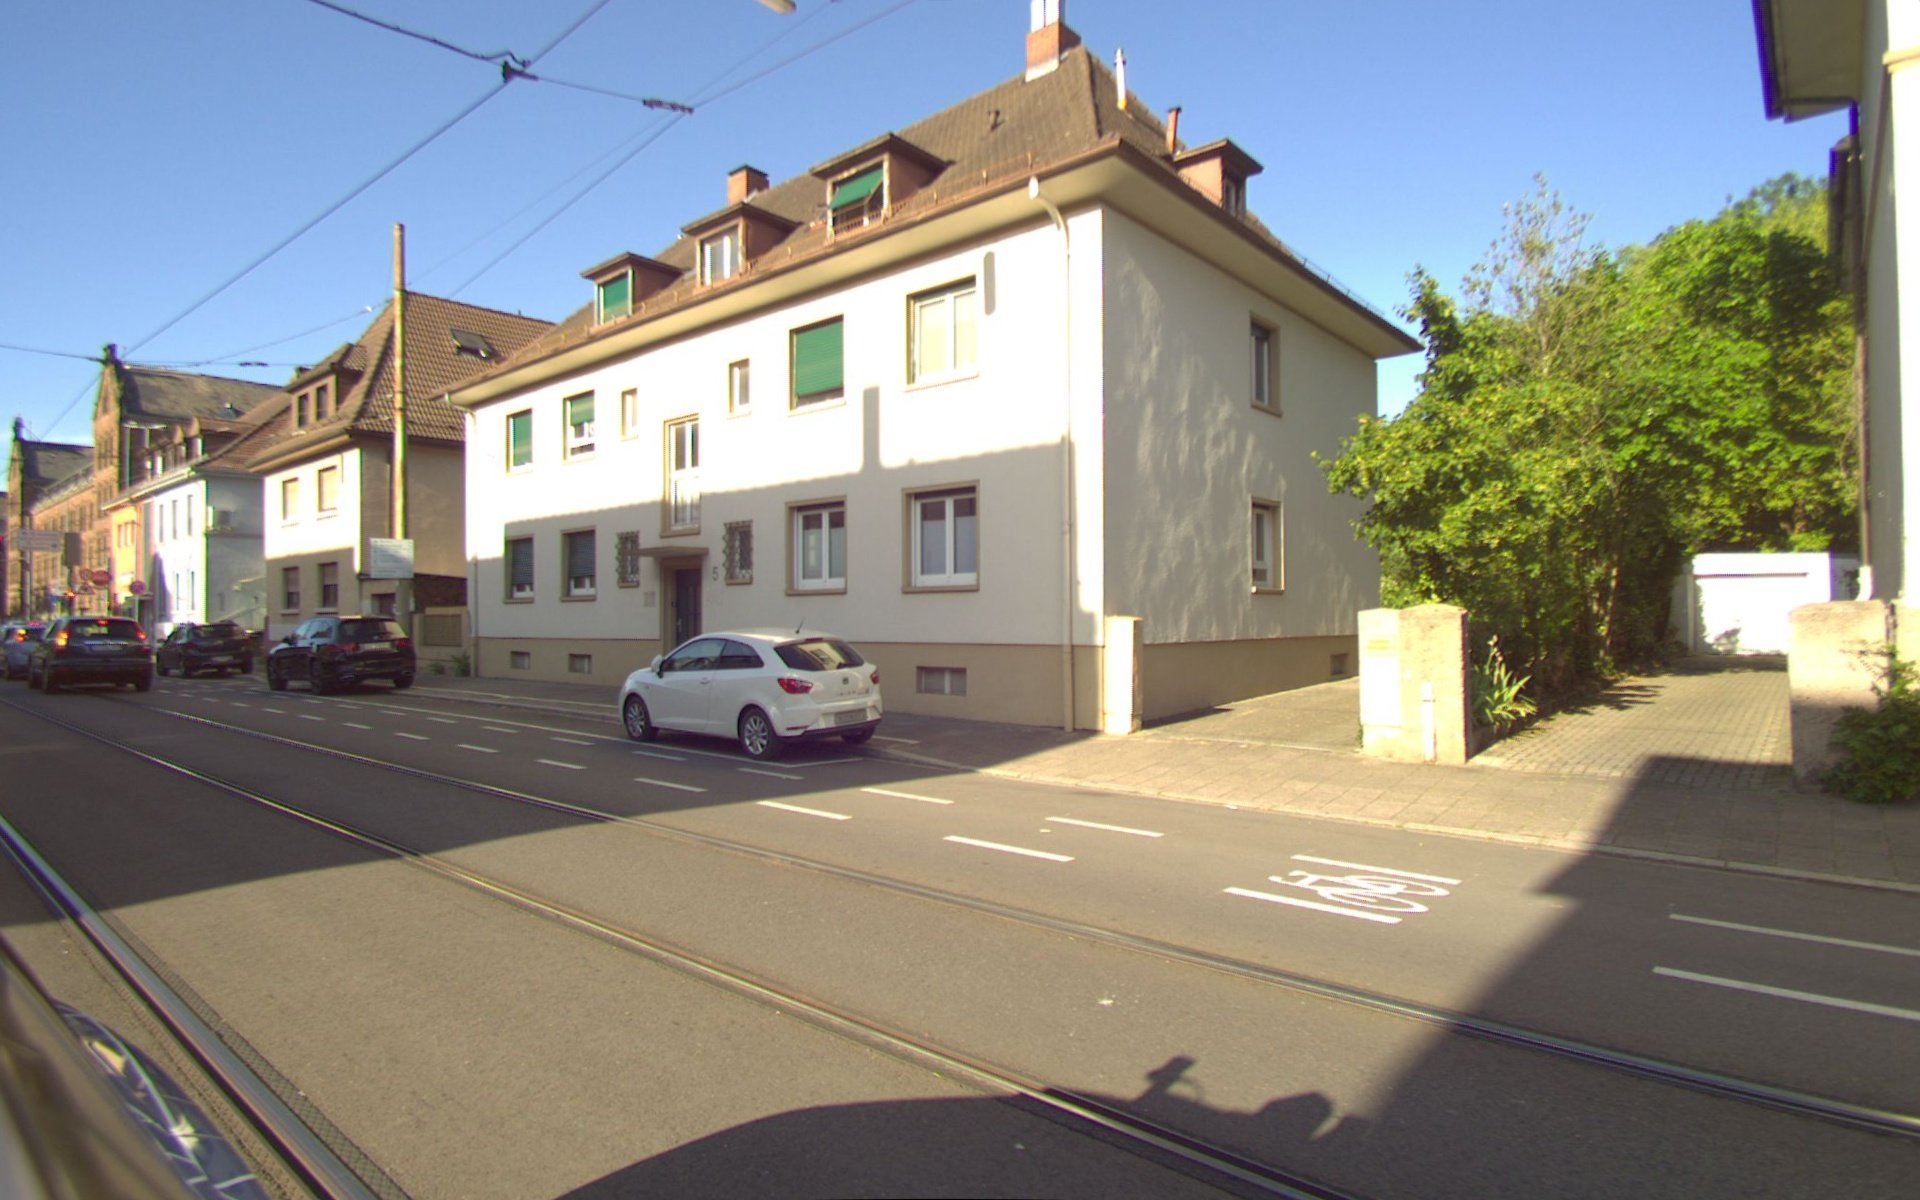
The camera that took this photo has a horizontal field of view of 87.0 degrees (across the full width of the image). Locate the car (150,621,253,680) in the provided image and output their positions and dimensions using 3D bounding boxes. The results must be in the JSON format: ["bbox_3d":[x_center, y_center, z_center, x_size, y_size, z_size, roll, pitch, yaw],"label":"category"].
[{"bbox_3d":[-22.633,1.458,30.140,3.918,1.640,1.599,-1,-3,40],"label":"car"}]

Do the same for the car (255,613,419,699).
[{"bbox_3d":[-13.873,1.179,22.427,4.552,1.718,1.744,-1,-3,40],"label":"car"}]

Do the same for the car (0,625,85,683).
[{"bbox_3d":[-25.533,1.451,27.917,4.074,1.472,1.600,-1,-3,42],"label":"car"}]

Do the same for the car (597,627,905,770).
[{"bbox_3d":[-2.673,1.082,12.420,4.014,1.468,1.614,-1,-3,41],"label":"car"}]

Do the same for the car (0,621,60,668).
[{"bbox_3d":[-34.399,1.616,37.173,1.718,1.623,4.717,3,-3,-45],"label":"car"}]

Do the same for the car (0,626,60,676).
[{"bbox_3d":[-29.380,1.554,31.546,3.613,1.472,1.565,-1,-3,42],"label":"car"}]

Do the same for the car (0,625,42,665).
[{"bbox_3d":[-38.872,1.842,41.397,3.930,1.579,1.665,-2,-4,44],"label":"car"}]

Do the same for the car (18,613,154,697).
[{"bbox_3d":[-19.610,1.177,22.656,4.362,1.718,1.686,-1,-3,41],"label":"car"}]
